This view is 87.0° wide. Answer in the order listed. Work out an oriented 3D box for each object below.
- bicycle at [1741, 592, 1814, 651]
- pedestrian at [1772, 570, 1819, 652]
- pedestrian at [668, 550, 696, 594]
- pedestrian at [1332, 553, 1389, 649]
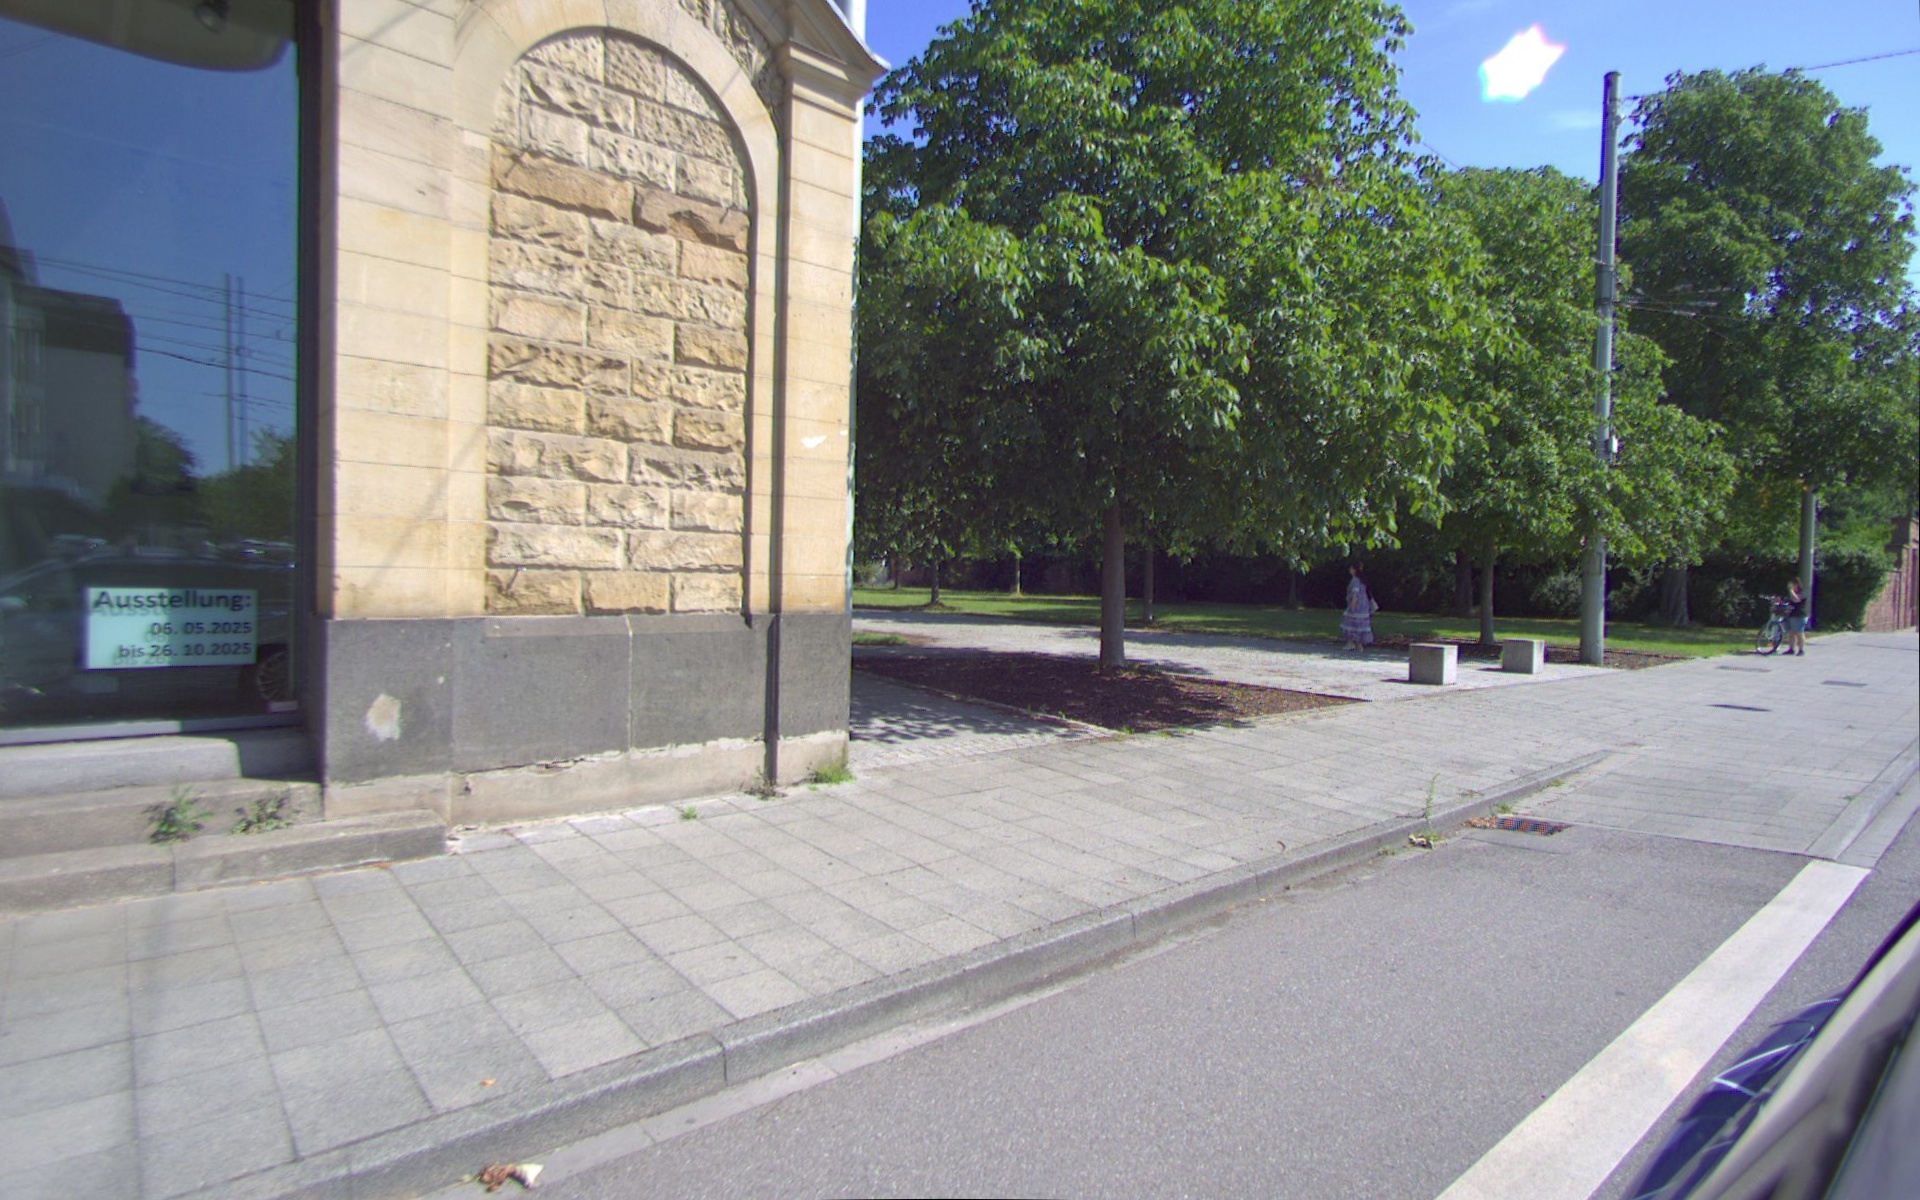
[{"bbox_3d":[16.523,0.409,20.442,1.771,1.125,0.538,0,3,-32],"label":"bicycle"},{"bbox_3d":[16.731,0.213,20.266,0.652,1.567,0.542,0,4,-42],"label":"pedestrian"},{"bbox_3d":[-10.379,-1.043,37.800,0.677,1.620,0.866,0,2,-42],"label":"pedestrian"},{"bbox_3d":[7.391,0.006,18.674,0.641,1.703,0.706,0,2,-41],"label":"pedestrian"}]
